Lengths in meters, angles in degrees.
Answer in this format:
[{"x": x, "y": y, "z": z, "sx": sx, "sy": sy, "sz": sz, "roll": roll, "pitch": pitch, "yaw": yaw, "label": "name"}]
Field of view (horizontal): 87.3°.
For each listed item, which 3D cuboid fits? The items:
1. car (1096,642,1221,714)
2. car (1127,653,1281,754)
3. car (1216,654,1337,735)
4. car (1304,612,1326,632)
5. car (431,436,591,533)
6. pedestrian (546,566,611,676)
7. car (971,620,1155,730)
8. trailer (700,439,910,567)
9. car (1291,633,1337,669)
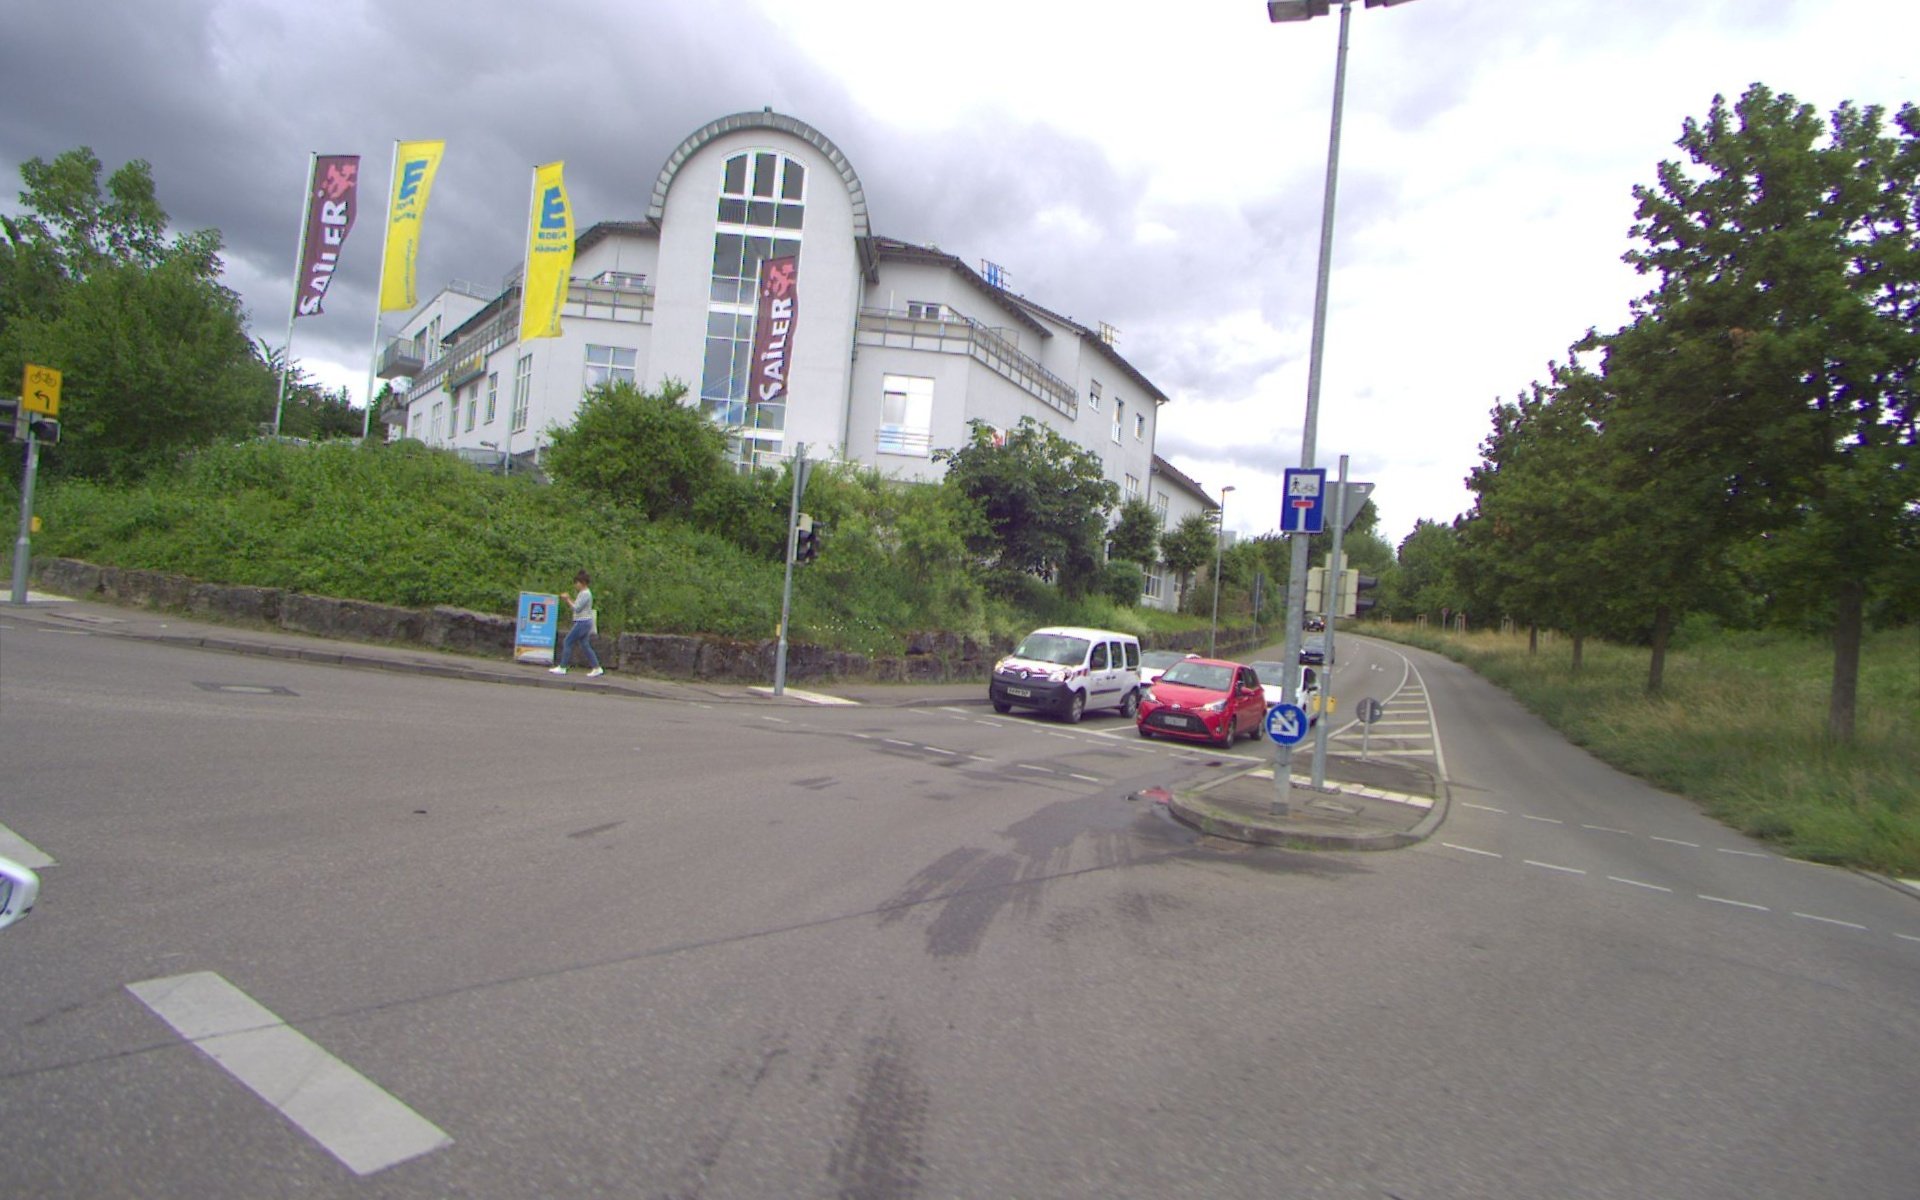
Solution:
[{"x": 5.158, "y": 1.913, "z": 25.744, "sx": 1.933, "sy": 1.474, "sz": 3.823, "roll": 6, "pitch": 1, "yaw": 30, "label": "car"}, {"x": 4.704, "y": 1.854, "z": 19.029, "sx": 1.730, "sy": 1.515, "sz": 3.825, "roll": 6, "pitch": 0, "yaw": 30, "label": "car"}, {"x": 7.522, "y": 2.133, "z": 23.619, "sx": 1.730, "sy": 1.474, "sz": 4.302, "roll": 6, "pitch": 1, "yaw": 29, "label": "car"}, {"x": 36.219, "y": 2.224, "z": 102.789, "sx": 1.787, "sy": 1.833, "sz": 4.560, "roll": 4, "pitch": 1, "yaw": 17, "label": "car"}, {"x": -12.040, "y": -3.030, "z": 27.355, "sx": 1.796, "sy": 1.657, "sz": 4.519, "roll": 7, "pitch": -3, "yaw": 6, "label": "car"}, {"x": -5.983, "y": 0.329, "z": 15.778, "sx": 0.620, "sy": 1.627, "sz": 0.573, "roll": 8, "pitch": -2, "yaw": -41, "label": "pedestrian"}, {"x": 2.275, "y": 1.467, "z": 20.795, "sx": 1.919, "sy": 1.823, "sz": 4.713, "roll": 6, "pitch": 1, "yaw": 29, "label": "car"}, {"x": -5.020, "y": -3.161, "z": 33.588, "sx": 6.376, "sy": 3.090, "sz": 2.472, "roll": 7, "pitch": -2, "yaw": -2, "label": "trailer"}, {"x": 17.734, "y": 2.520, "z": 50.308, "sx": 1.728, "sy": 1.475, "sz": 3.824, "roll": 6, "pitch": 3, "yaw": 25, "label": "car"}]
